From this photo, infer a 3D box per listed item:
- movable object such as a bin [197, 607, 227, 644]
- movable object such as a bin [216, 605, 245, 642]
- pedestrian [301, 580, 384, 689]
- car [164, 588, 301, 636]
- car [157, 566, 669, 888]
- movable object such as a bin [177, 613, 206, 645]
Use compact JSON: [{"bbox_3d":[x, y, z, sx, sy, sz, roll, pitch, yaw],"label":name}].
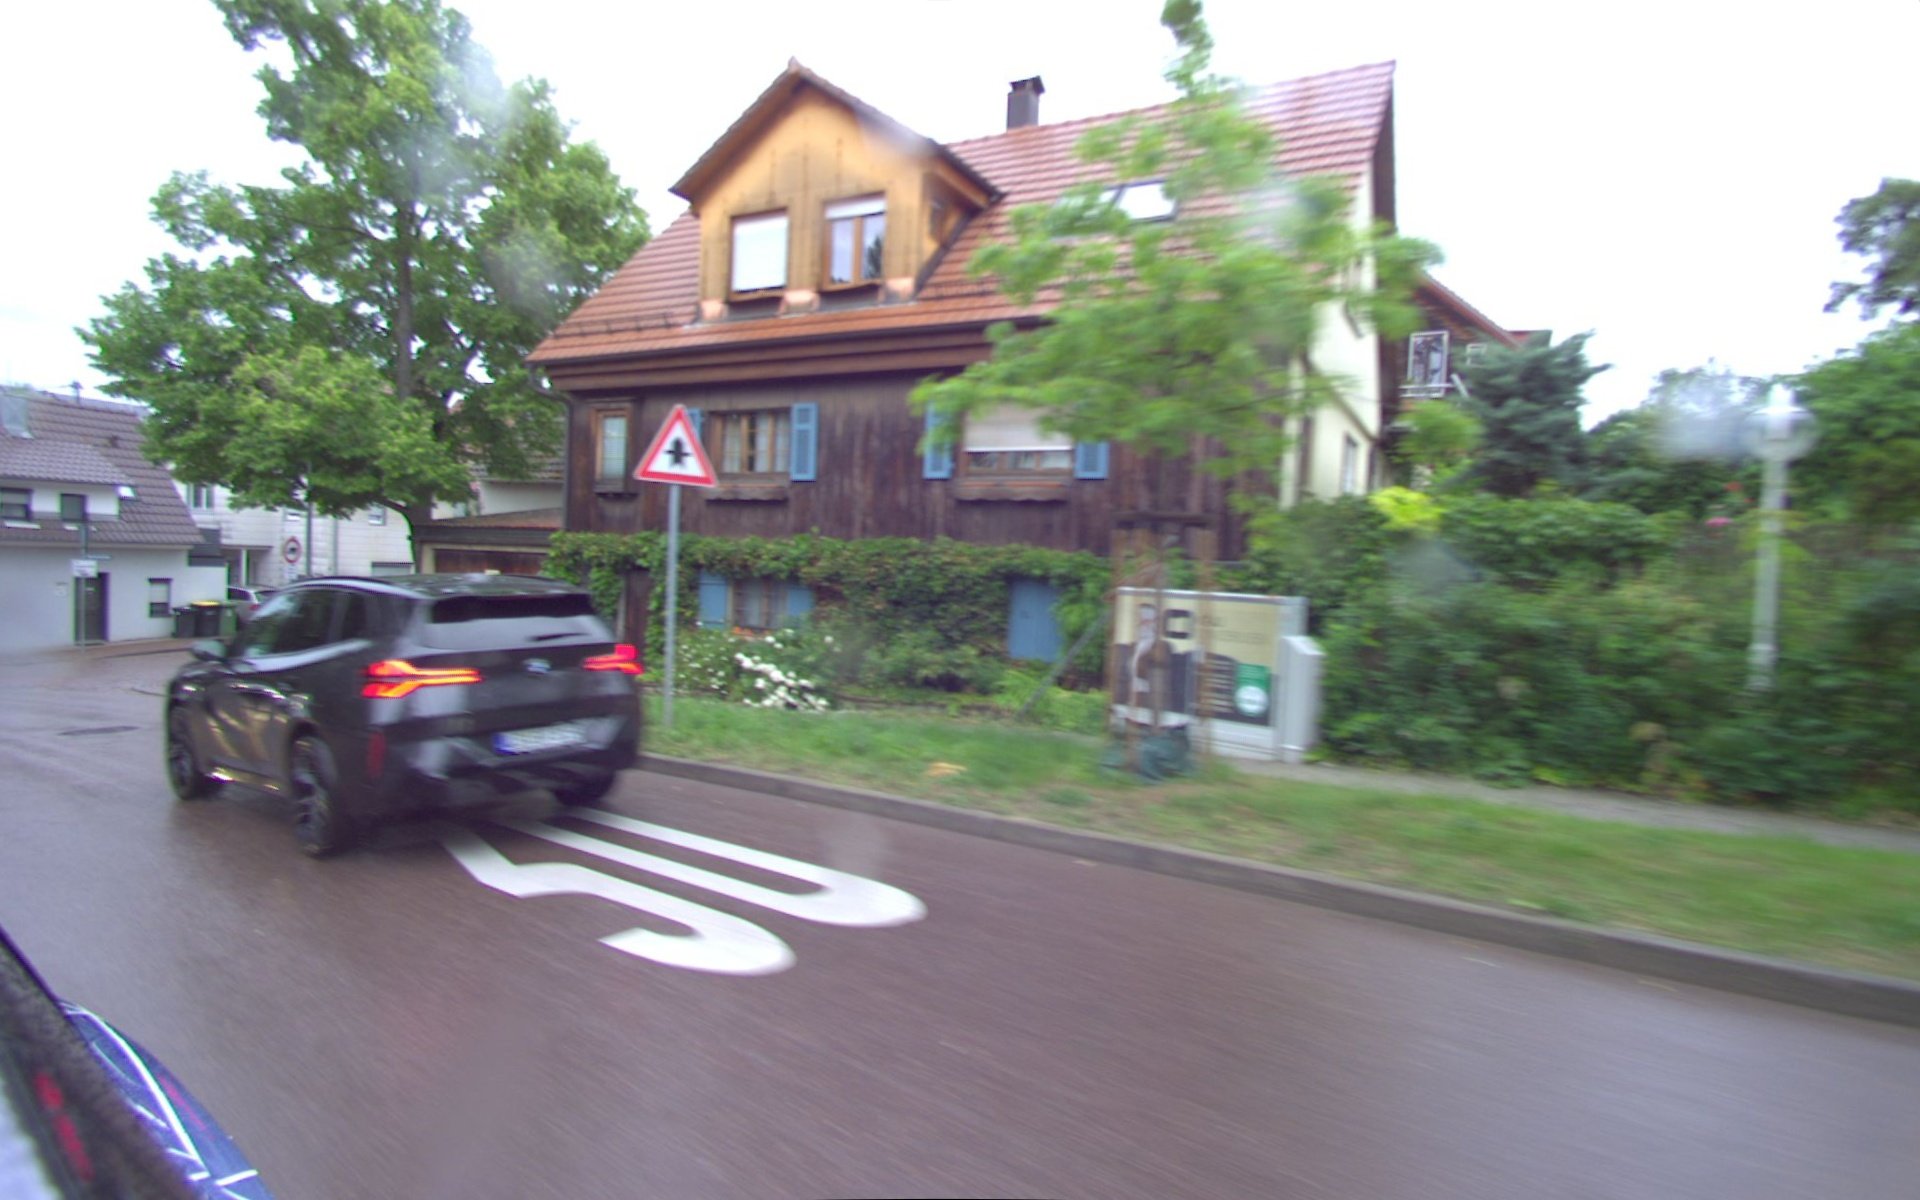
[{"bbox_3d":[-23.093,0.781,31.232,0.513,1.132,0.542,-1,0,19],"label":"movable object such as a bin"},{"bbox_3d":[-22.888,0.737,31.767,0.513,1.132,0.527,-1,0,19],"label":"movable object such as a bin"},{"bbox_3d":[-10.869,0.581,17.816,0.893,1.844,0.959,-1,0,36],"label":"pedestrian"},{"bbox_3d":[-24.448,0.399,34.035,3.966,1.544,1.717,-1,0,18],"label":"car"},{"bbox_3d":[-4.050,0.650,7.191,4.138,1.628,1.868,-1,0,41],"label":"car"},{"bbox_3d":[-23.327,0.879,30.714,0.497,0.947,0.514,-1,0,19],"label":"movable object such as a bin"}]
